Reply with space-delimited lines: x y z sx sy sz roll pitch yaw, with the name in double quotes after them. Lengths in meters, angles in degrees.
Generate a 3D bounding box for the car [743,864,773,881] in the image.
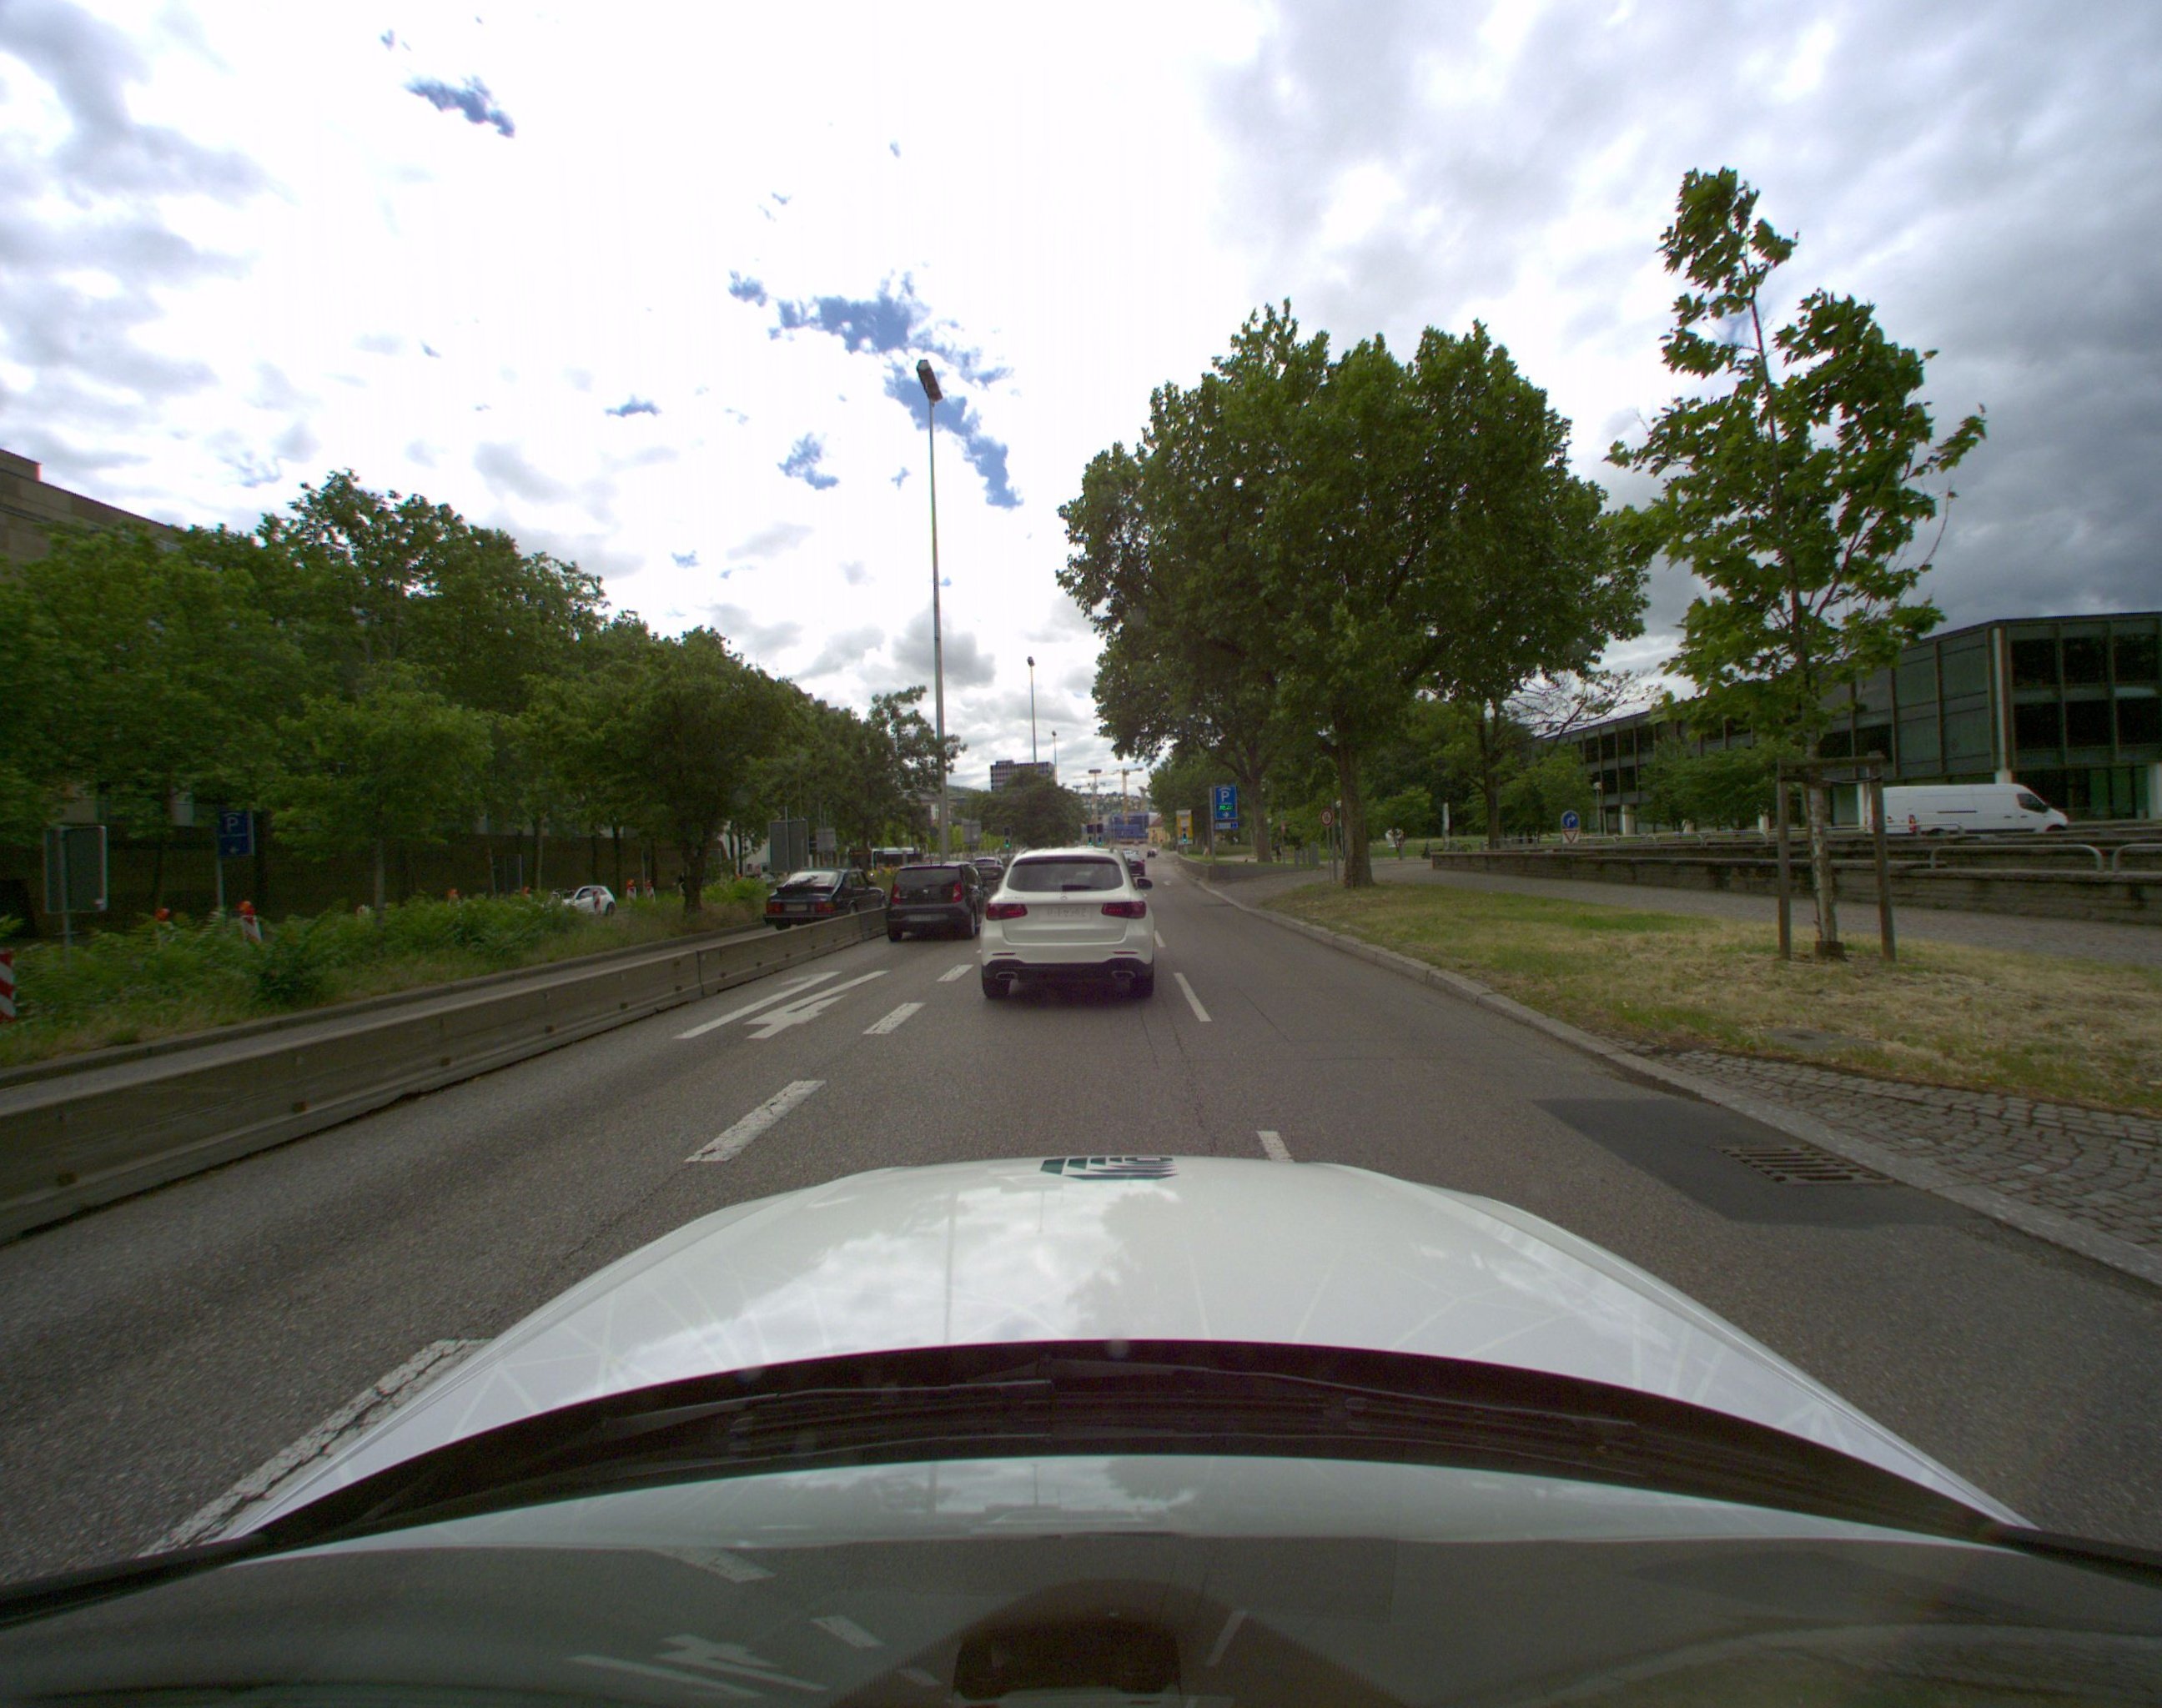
-40.680 2.306 102.695 1.986 1.914 4.002 -2 0 2 "car"

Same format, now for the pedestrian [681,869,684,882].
-32.011 1.744 65.438 0.214 1.078 0.258 0 -1 -16 "pedestrian"

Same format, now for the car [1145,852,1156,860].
13.528 0.360 158.640 1.939 1.428 4.020 -1 0 3 "car"

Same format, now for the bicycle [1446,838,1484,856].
22.259 -0.404 47.232 0.950 0.975 2.788 0 -1 2 "bicycle"

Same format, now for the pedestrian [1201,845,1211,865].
13.027 0.094 84.899 0.752 2.013 0.703 -2 0 38 "pedestrian"

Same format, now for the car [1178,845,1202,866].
10.829 0.130 81.131 1.985 2.014 4.003 -1 0 3 "car"

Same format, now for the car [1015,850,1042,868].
-4.667 0.434 72.813 1.768 1.420 4.005 -2 0 4 "car"

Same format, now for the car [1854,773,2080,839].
34.927 -1.839 32.270 6.081 2.260 2.404 -2 0 3 "car"

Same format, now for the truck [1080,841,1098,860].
1.224 -0.575 125.791 2.611 2.861 7.080 -1 0 1 "truck"

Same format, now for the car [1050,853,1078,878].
-1.203 0.794 57.742 1.846 1.628 4.904 -1 -1 -1 "car"

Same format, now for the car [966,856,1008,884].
-5.073 0.836 44.240 1.655 1.436 3.962 -1 -1 2 "car"

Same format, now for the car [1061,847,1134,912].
0.387 0.708 23.369 1.791 1.608 3.751 -4 -1 -2 "car"

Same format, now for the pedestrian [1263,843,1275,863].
14.812 -0.076 64.072 0.662 1.611 0.637 -2 0 -16 "pedestrian"

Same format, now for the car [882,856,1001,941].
-2.703 0.812 16.562 1.602 1.473 3.624 -2 0 2 "car"

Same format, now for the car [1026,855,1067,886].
-1.661 0.790 40.716 1.791 1.437 4.020 -1 0 1 "car"

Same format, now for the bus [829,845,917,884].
-19.933 0.838 79.617 3.650 3.205 14.296 -2 1 5 "bus"

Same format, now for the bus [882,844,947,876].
-18.871 0.614 93.734 3.652 3.205 14.285 -2 0 3 "bus"

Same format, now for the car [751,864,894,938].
-5.743 0.977 18.740 1.672 1.367 4.545 -2 0 2 "car"

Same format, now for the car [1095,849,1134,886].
1.550 0.630 39.018 1.654 1.639 3.546 -1 0 -1 "car"

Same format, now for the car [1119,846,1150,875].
3.478 0.417 53.764 1.818 1.752 4.002 -2 0 2 "car"

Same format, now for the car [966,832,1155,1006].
-0.049 0.636 10.105 1.780 1.625 4.442 -2 0 4 "car"

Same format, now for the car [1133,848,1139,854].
15.944 -0.823 237.160 1.751 1.669 4.170 -2 0 2 "car"

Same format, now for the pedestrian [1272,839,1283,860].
15.942 -0.367 66.029 0.754 1.725 0.701 -2 0 10 "pedestrian"

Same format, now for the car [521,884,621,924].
-21.306 2.040 34.197 1.654 1.383 3.805 -2 0 2 "car"

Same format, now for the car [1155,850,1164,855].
18.427 -0.347 191.667 1.939 1.319 4.020 -1 0 3 "car"

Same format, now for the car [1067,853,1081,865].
-0.940 0.678 112.291 1.652 1.513 3.550 -2 0 3 "car"

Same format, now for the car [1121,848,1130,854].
10.157 -0.726 186.887 1.939 1.319 4.020 -1 0 3 "car"

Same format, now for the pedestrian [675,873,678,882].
-32.444 1.861 65.372 0.165 0.744 0.137 0 -1 -8 "pedestrian"

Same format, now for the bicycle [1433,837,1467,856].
21.170 -0.416 46.797 0.950 1.063 2.336 0 -1 2 "bicycle"

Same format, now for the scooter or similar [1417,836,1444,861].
18.185 -0.280 42.410 0.633 1.245 2.228 0 -1 5 "scooter or similar"
